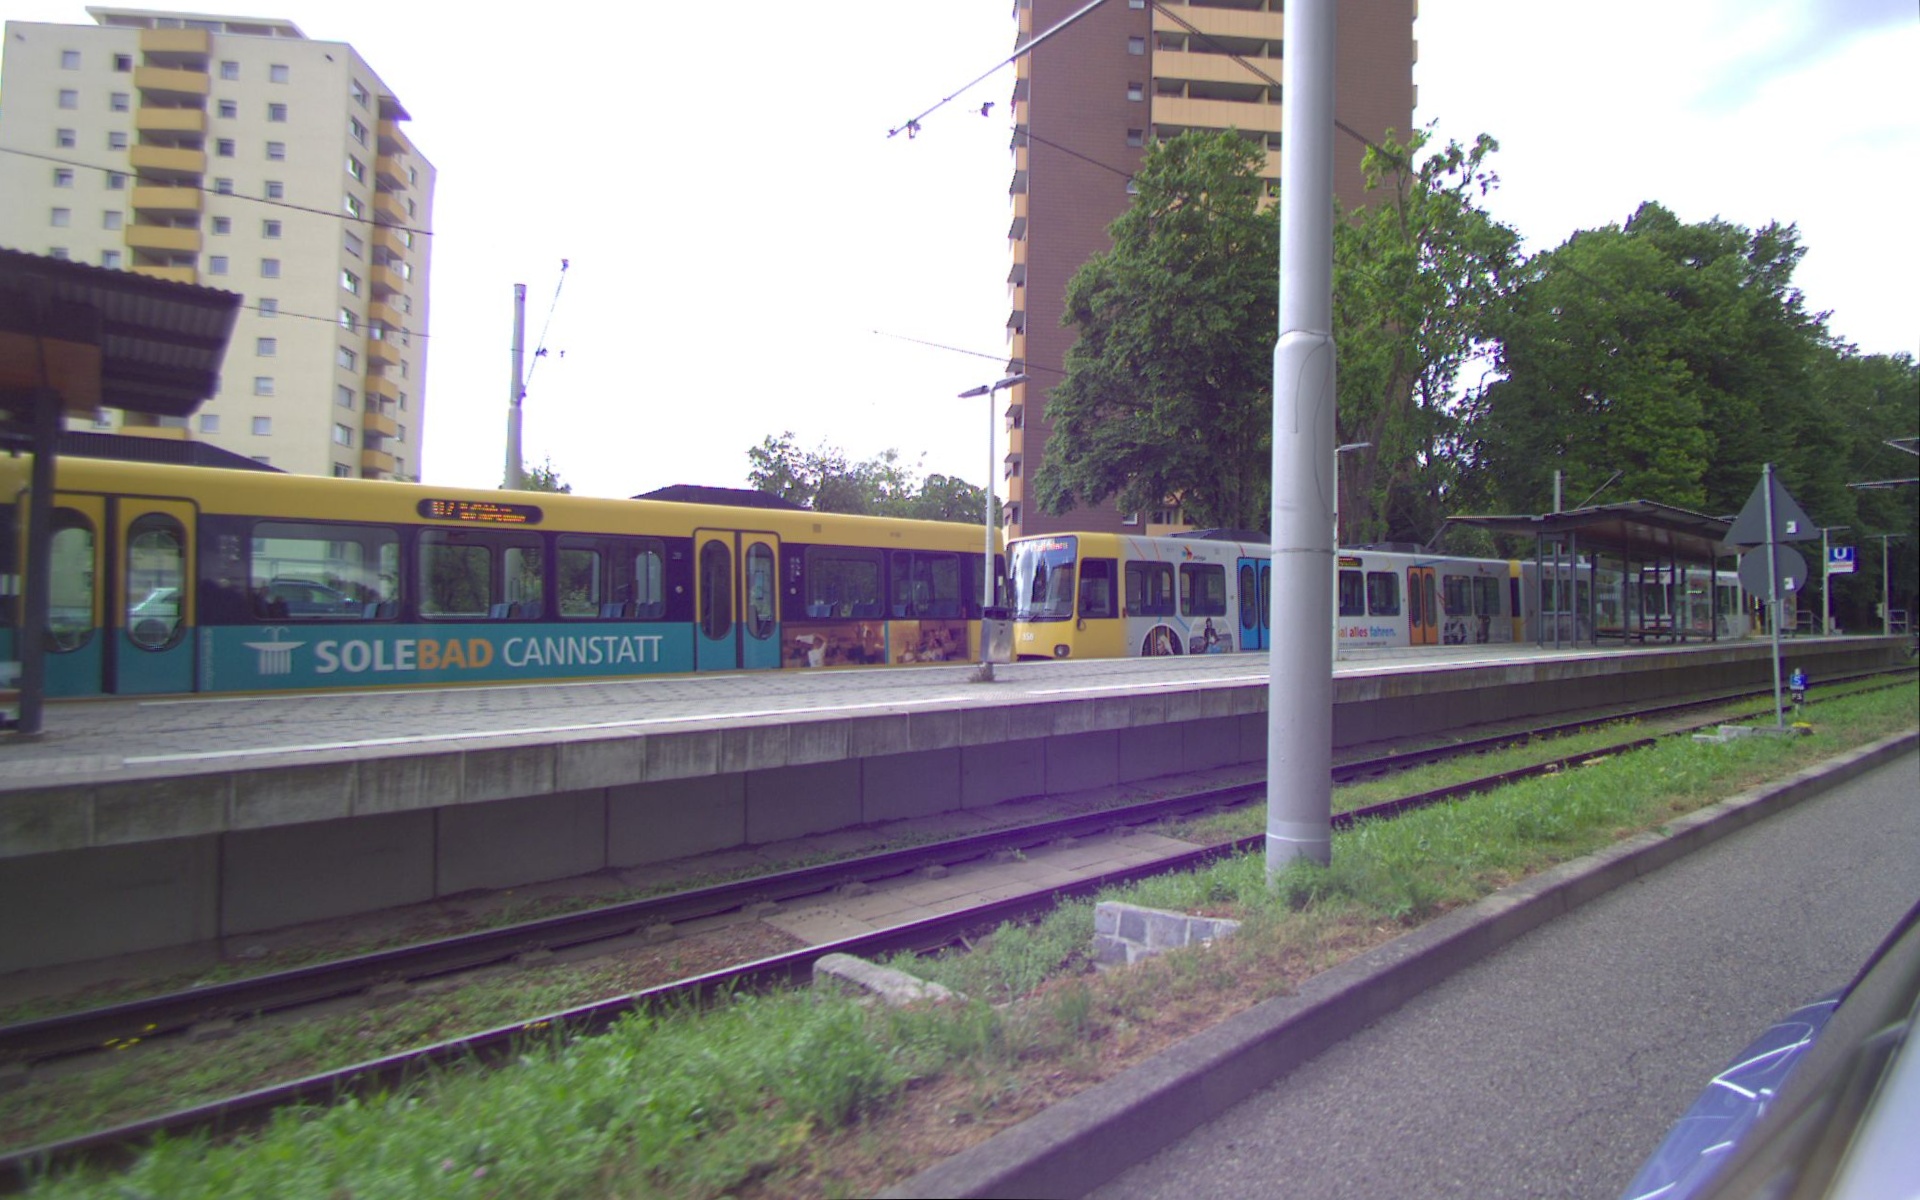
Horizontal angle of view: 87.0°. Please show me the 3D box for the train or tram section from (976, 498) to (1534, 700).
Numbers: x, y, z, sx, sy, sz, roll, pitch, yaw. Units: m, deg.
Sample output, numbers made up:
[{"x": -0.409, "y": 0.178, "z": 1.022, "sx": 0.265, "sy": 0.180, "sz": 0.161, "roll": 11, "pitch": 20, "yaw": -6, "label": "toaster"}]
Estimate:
[{"x": 8.699, "y": 0.082, "z": 25.855, "sx": 18.575, "sy": 3.848, "sz": 2.821, "roll": 0, "pitch": -3, "yaw": -36, "label": "train or tram section"}]

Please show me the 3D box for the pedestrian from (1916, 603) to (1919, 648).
[{"x": 38.990, "y": 1.019, "z": 40.467, "sx": 0.717, "sy": 1.781, "sz": 0.985, "roll": 3, "pitch": -4, "yaw": -42, "label": "pedestrian"}]

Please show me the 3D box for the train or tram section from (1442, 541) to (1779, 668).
[{"x": 24.006, "y": 0.227, "z": 36.387, "sx": 18.169, "sy": 3.785, "sz": 2.823, "roll": 0, "pitch": -2, "yaw": -33, "label": "train or tram section"}]

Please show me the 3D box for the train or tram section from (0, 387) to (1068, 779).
[{"x": -6.184, "y": -0.082, "z": 14.191, "sx": 19.165, "sy": 3.785, "sz": 2.818, "roll": 1, "pitch": -3, "yaw": -40, "label": "train or tram section"}]
